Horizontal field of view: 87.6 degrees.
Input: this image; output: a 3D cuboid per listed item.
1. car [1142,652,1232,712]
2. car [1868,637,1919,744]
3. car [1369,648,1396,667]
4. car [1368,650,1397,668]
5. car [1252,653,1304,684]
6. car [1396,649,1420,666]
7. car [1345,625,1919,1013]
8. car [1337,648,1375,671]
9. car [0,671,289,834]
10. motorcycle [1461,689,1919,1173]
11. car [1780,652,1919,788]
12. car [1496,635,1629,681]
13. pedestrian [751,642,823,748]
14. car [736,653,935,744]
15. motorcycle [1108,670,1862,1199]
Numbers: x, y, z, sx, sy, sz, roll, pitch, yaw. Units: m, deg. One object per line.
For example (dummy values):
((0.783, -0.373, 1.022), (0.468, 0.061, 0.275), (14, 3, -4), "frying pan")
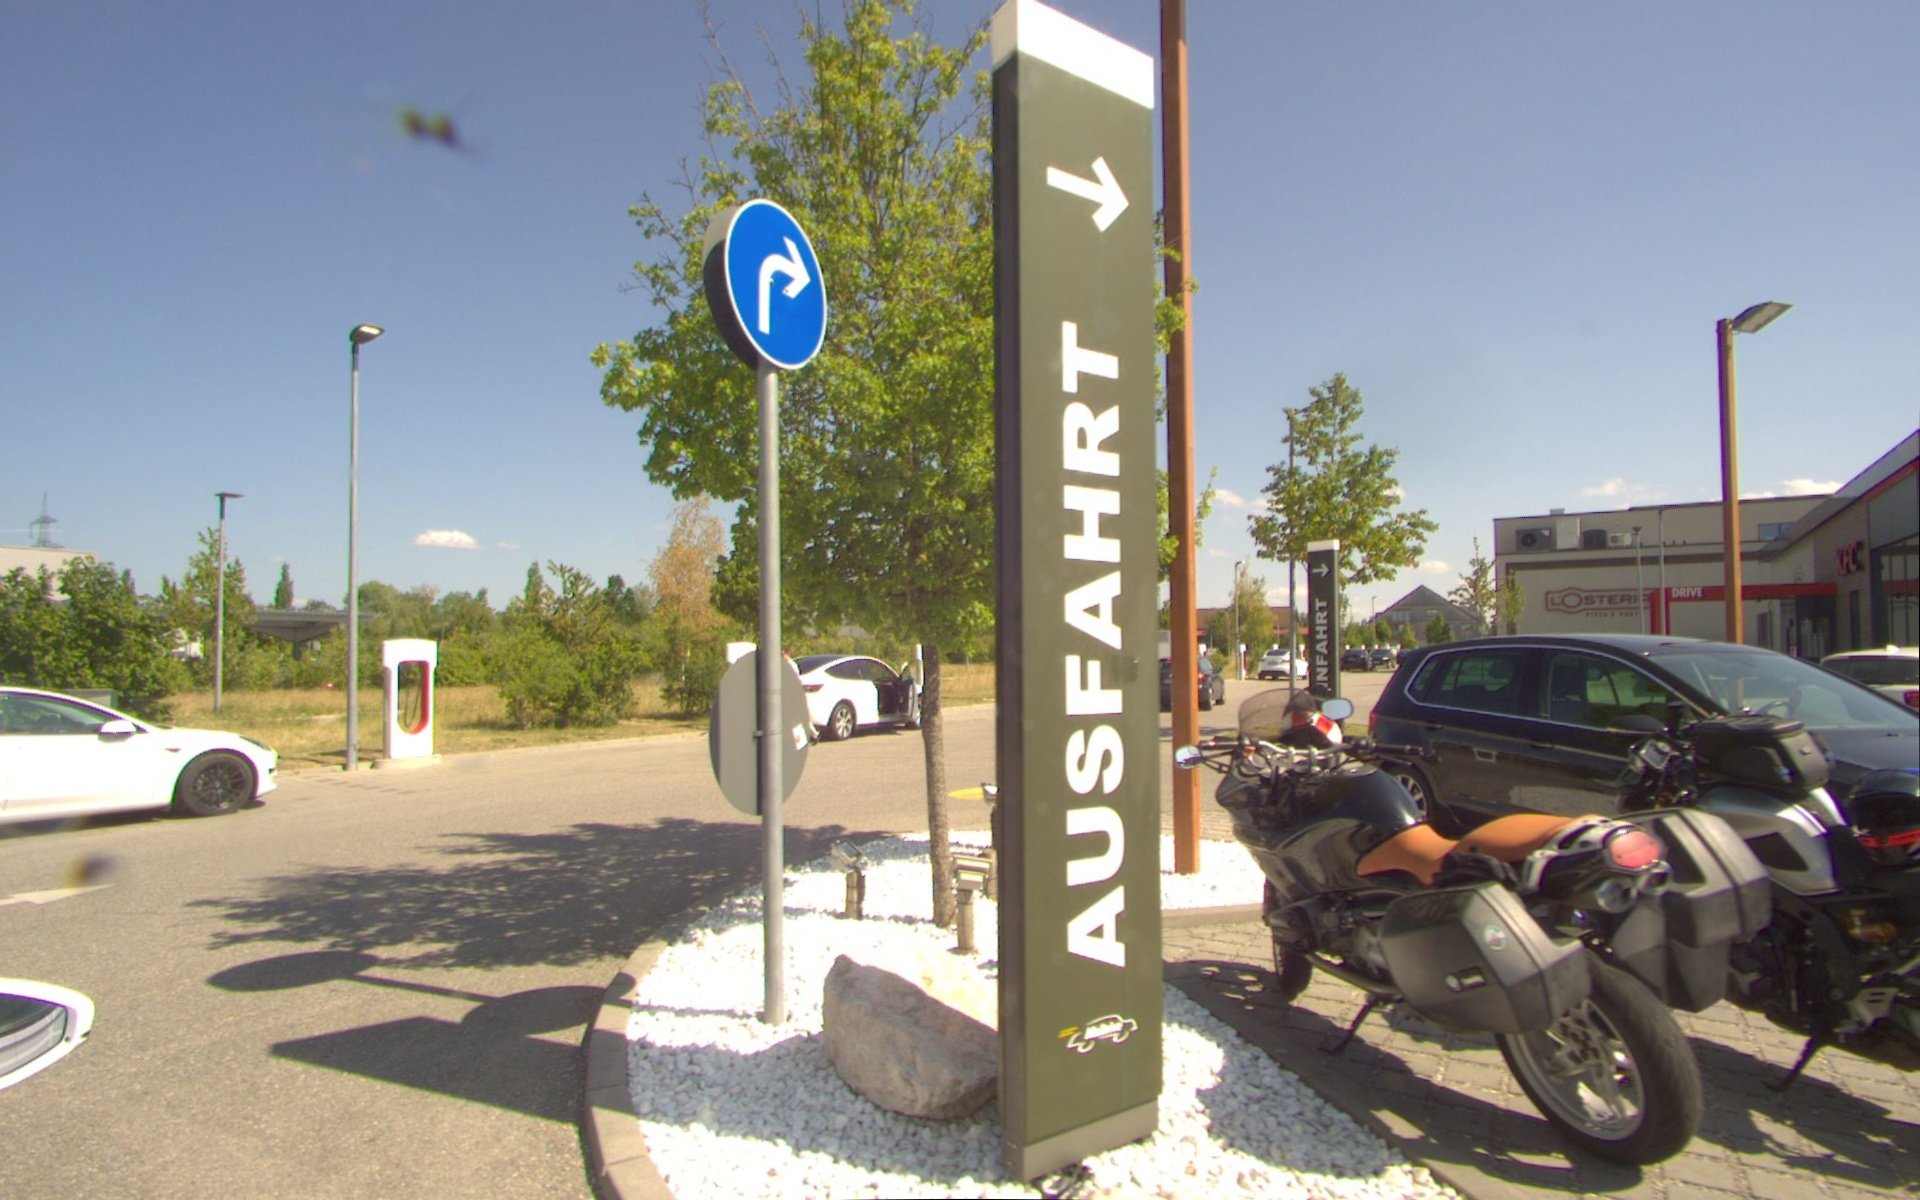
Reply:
((6.210, 2.149, 27.072), (1.670, 1.459, 4.205), (-1, -3, 23), "car")
((15.356, 1.276, 13.705), (1.725, 1.596, 4.086), (0, -3, -12), "car")
((34.372, 4.642, 81.385), (1.657, 1.527, 3.985), (-1, -3, 29), "car")
((34.433, 4.773, 81.478), (1.722, 1.404, 3.984), (-2, -3, 29), "car")
((17.036, 3.628, 53.534), (1.921, 1.588, 3.986), (-2, -3, 28), "car")
((43.050, 5.472, 96.146), (1.722, 1.588, 3.984), (-2, -3, 29), "car")
((4.388, 0.960, 6.084), (1.861, 1.556, 4.189), (0, -2, -12), "car")
((28.138, 4.231, 71.066), (1.922, 1.588, 3.984), (-2, -3, 30), "car")
((-9.281, 1.429, 9.574), (1.796, 1.394, 4.428), (-2, -3, 32), "car")
((2.862, 0.983, 3.377), (0.807, 1.247, 2.136), (1, -2, -20), "motorcycle")
((12.100, 1.340, 11.782), (4.113, 1.443, 1.842), (1, -3, -18), "car")
((23.369, 2.269, 39.029), (4.317, 1.706, 1.636), (-2, -3, 28), "car")
((-3.094, 1.676, 17.956), (1.019, 1.823, 0.734), (0, -2, 27), "pedestrian")
((-2.411, 1.911, 20.565), (1.841, 1.620, 4.473), (-1, -3, 28), "car")
((1.483, 0.932, 3.490), (1.052, 1.267, 2.248), (2, -2, -16), "motorcycle")
